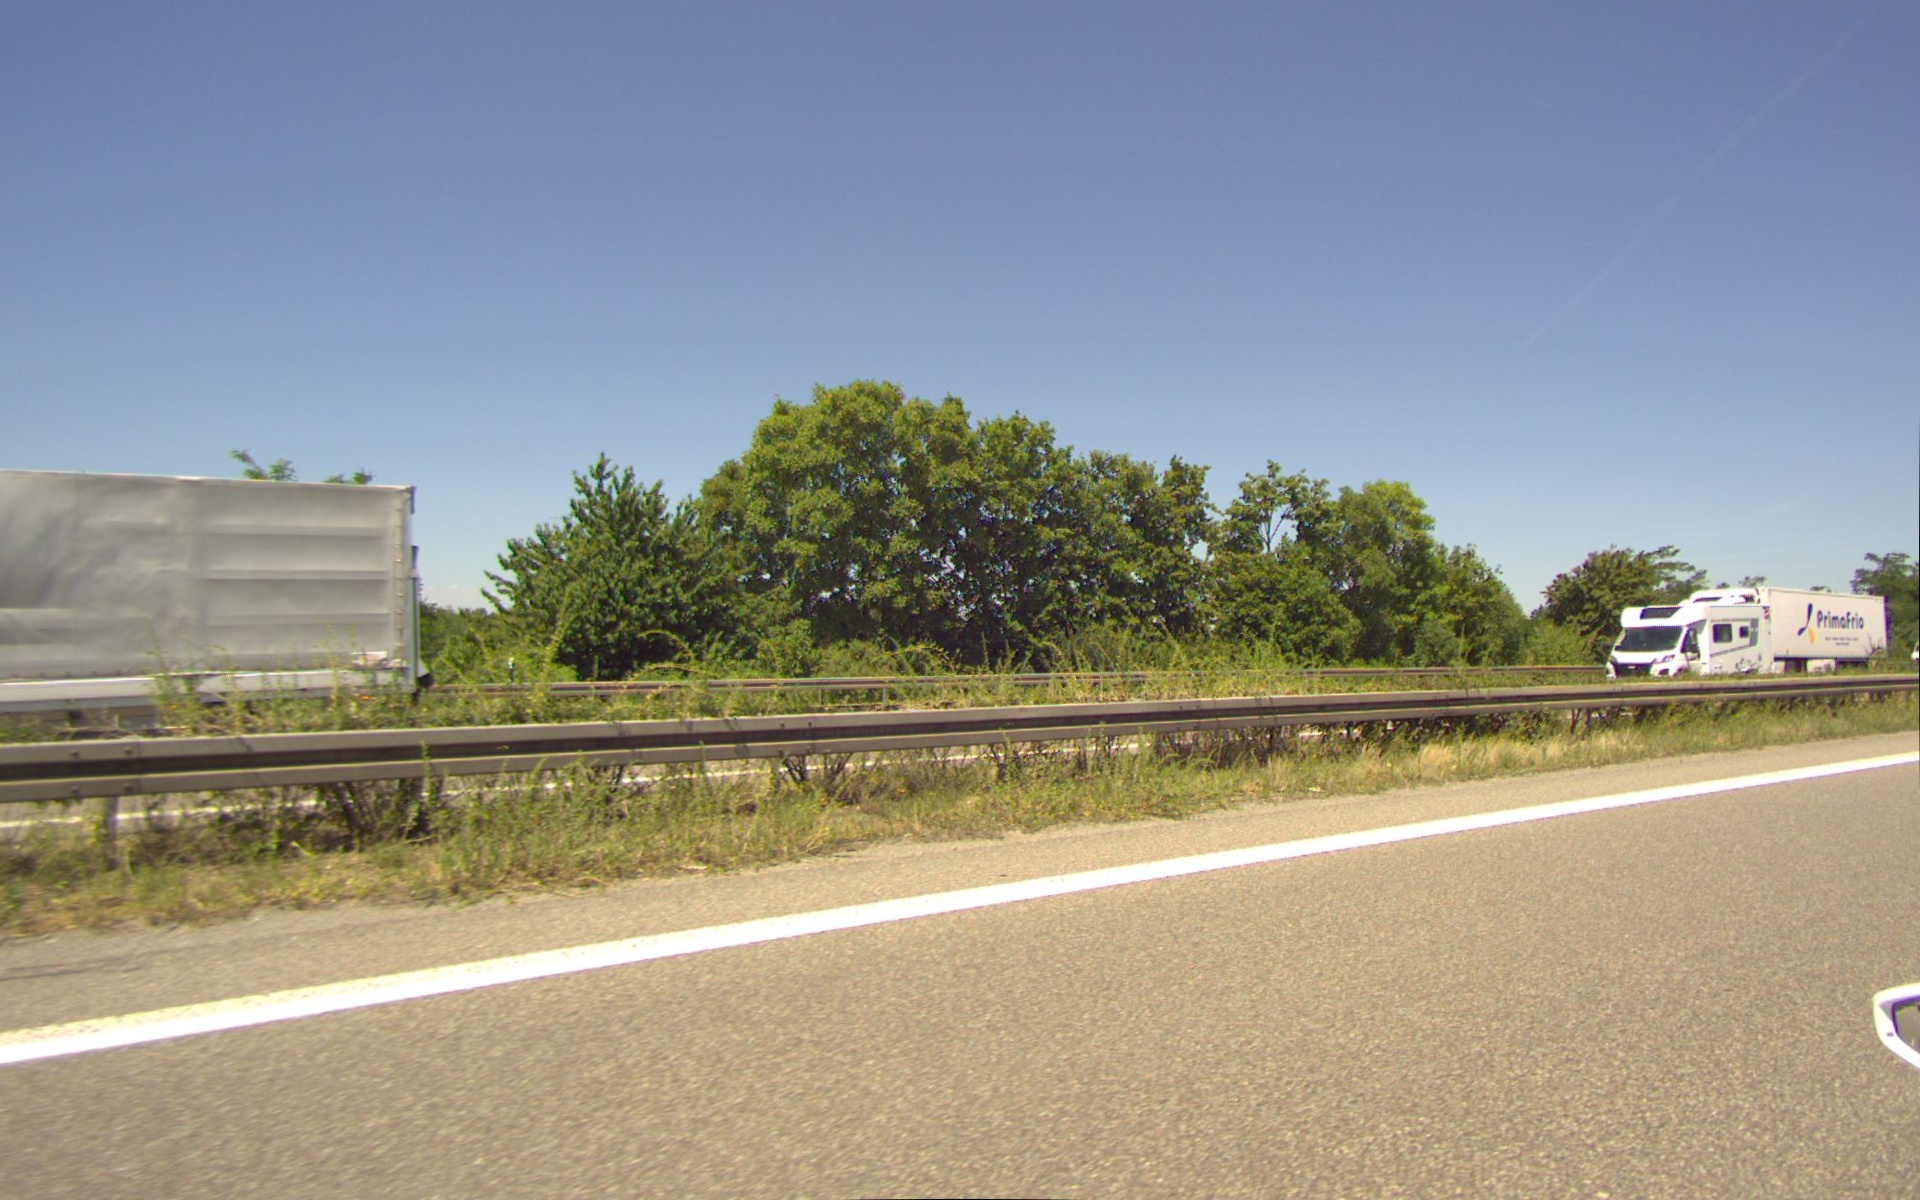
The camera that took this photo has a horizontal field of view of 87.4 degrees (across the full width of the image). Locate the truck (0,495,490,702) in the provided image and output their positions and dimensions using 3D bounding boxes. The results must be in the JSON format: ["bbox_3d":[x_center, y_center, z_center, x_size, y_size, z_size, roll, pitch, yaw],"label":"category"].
[{"bbox_3d":[-9.533,0.050,11.826,7.052,2.094,2.717,1,-2,-30],"label":"truck"}]

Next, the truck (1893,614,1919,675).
[{"bbox_3d":[58.527,2.643,59.846,7.337,3.510,2.357,2,-2,-31],"label":"truck"}]

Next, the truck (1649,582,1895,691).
[{"bbox_3d":[38.332,1.809,46.964,16.997,4.433,3.201,2,-5,-31],"label":"truck"}]

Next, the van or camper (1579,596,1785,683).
[{"bbox_3d":[23.685,1.298,32.835,7.715,2.593,2.457,1,-2,-30],"label":"van or camper"}]
